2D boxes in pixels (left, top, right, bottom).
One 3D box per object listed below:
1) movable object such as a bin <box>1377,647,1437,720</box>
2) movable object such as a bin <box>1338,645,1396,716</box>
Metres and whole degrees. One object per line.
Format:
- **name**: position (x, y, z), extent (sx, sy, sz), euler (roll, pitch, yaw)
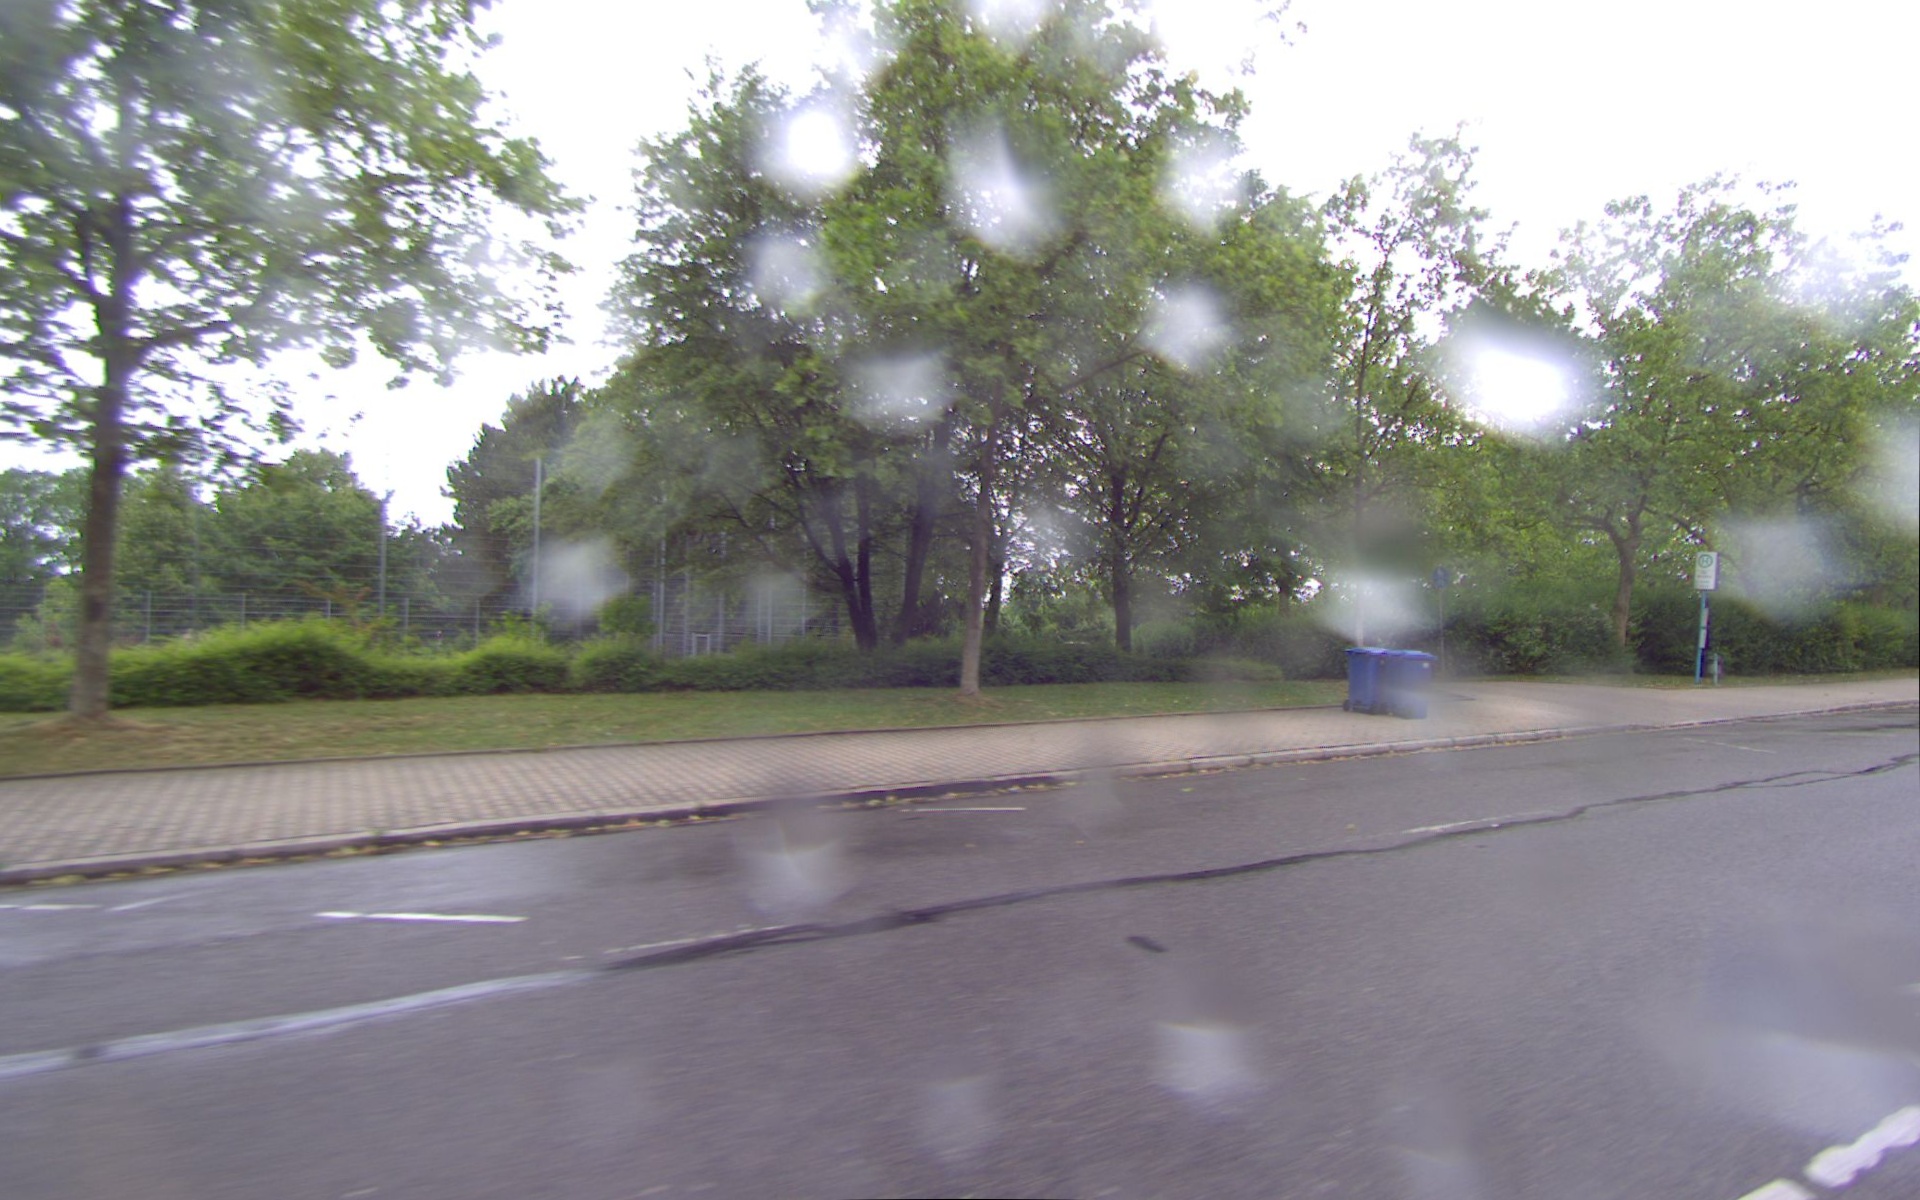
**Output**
- **movable object such as a bin**: position (7.250, 1.348, 16.315), extent (0.663, 1.113, 0.564), euler (1, 2, -28)
- **movable object such as a bin**: position (6.784, 1.334, 16.739), extent (0.663, 1.113, 0.564), euler (1, 2, -28)
